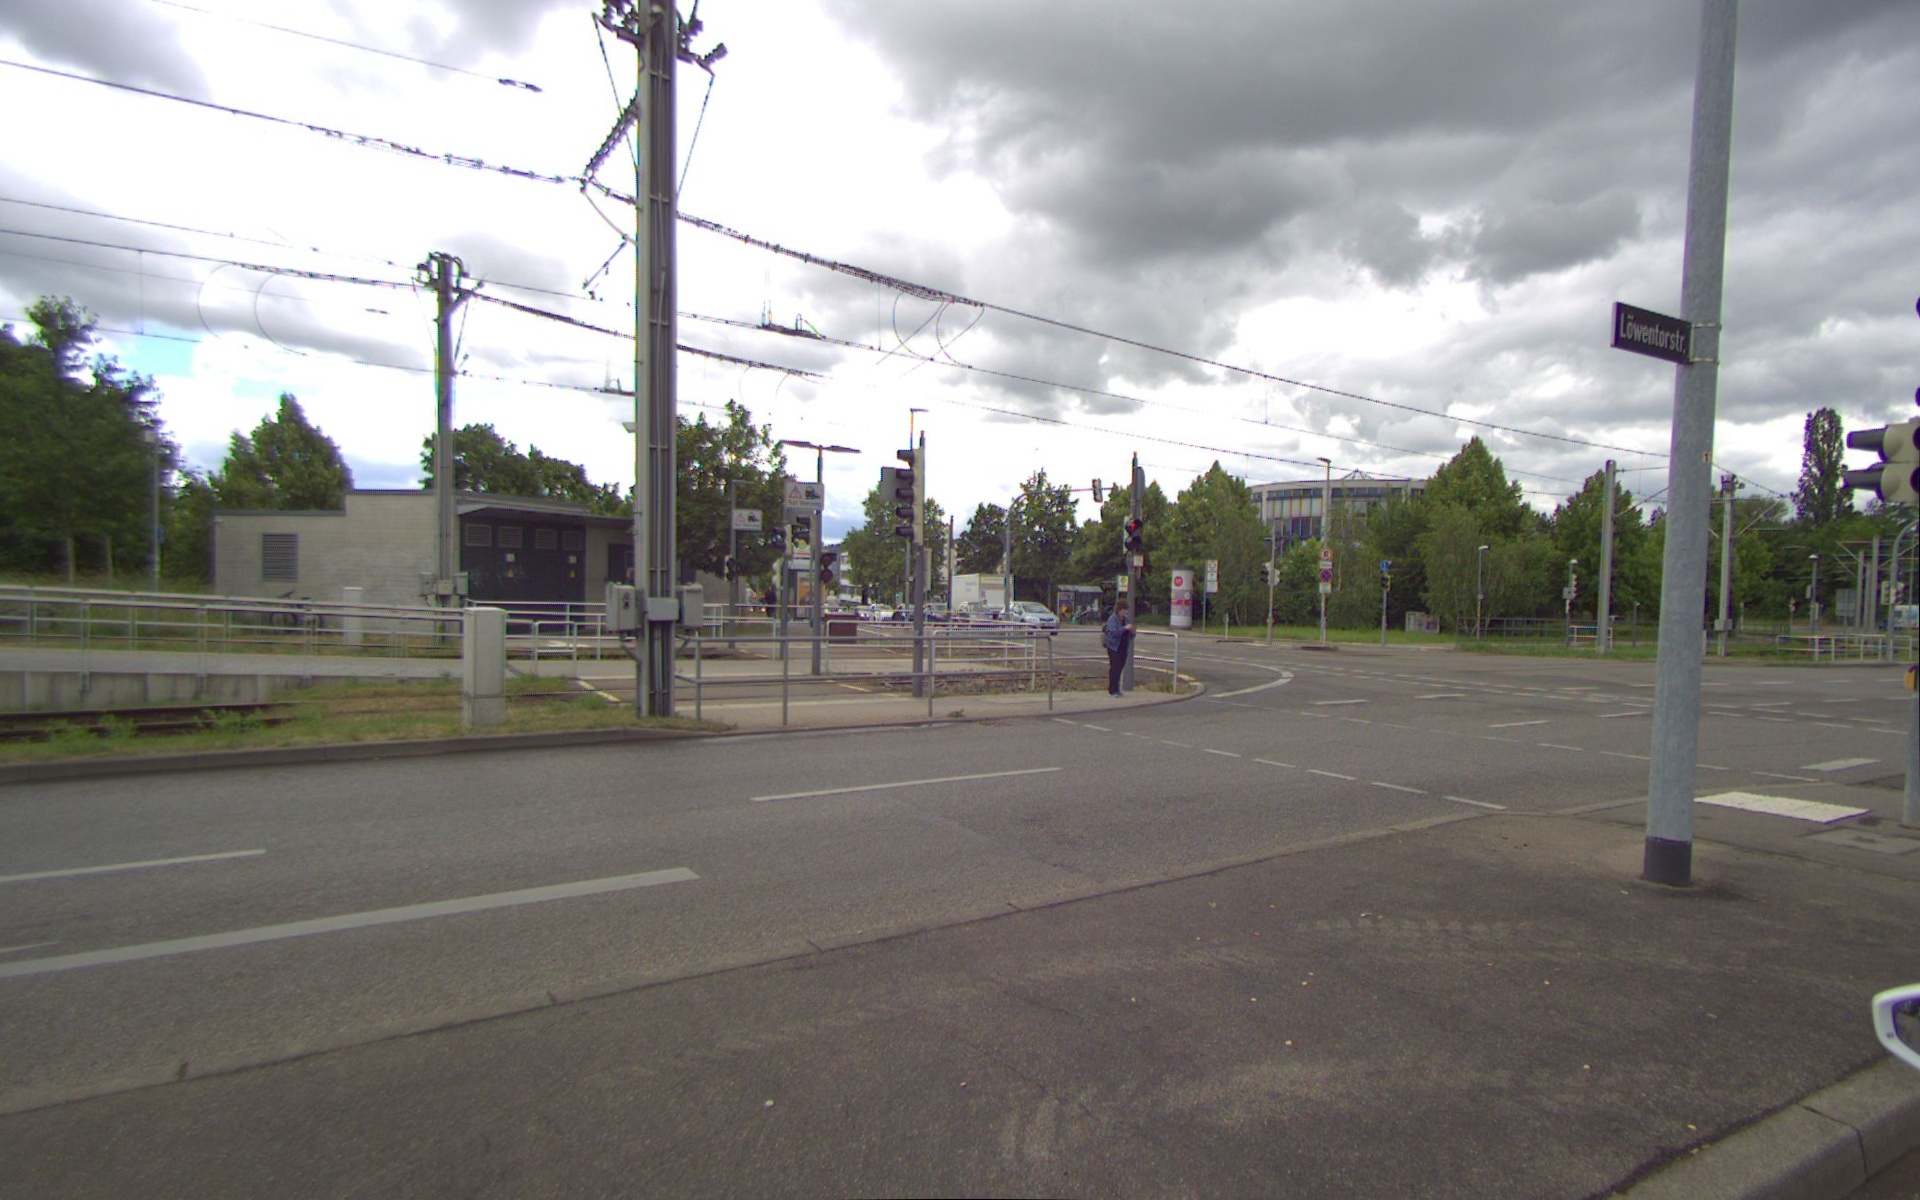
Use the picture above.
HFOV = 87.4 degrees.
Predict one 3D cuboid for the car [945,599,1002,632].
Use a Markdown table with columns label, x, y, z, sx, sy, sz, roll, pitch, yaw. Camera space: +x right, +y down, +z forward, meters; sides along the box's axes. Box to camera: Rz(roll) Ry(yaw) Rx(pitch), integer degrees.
| label | x | y | z | sx | sy | sz | roll | pitch | yaw |
| --- | --- | --- | --- | --- | --- | --- | --- | --- | --- |
| car | 0.662 | 0.795 | 53.863 | 1.776 | 1.617 | 3.982 | 2 | 0 | -20 |

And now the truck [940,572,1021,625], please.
| label | x | y | z | sx | sy | sz | roll | pitch | yaw |
| --- | --- | --- | --- | --- | --- | --- | --- | --- | --- |
| truck | 1.315 | -0.128 | 73.255 | 2.969 | 3.580 | 9.244 | 1 | 0 | -18 |

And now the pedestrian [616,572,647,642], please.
| label | x | y | z | sx | sy | sz | roll | pitch | yaw |
| --- | --- | --- | --- | --- | --- | --- | --- | --- | --- |
| pedestrian | -8.434 | 0.191 | 25.765 | 0.700 | 1.751 | 0.674 | 2 | 0 | -19 |

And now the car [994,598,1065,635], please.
| label | x | y | z | sx | sy | sz | roll | pitch | yaw |
| --- | --- | --- | --- | --- | --- | --- | --- | --- | --- |
| car | 3.192 | 0.734 | 46.897 | 1.848 | 1.617 | 3.982 | 2 | 0 | -20 |

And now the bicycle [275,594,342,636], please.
| label | x | y | z | sx | sy | sz | roll | pitch | yaw |
| --- | --- | --- | --- | --- | --- | --- | --- | --- | --- |
| bicycle | -17.353 | 0.393 | 26.752 | 1.778 | 1.045 | 0.536 | 2 | 0 | 21 |

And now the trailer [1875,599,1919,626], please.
| label | x | y | z | sx | sy | sz | roll | pitch | yaw |
| --- | --- | --- | --- | --- | --- | --- | --- | --- | --- |
| trailer | 114.078 | 1.516 | 121.076 | 2.699 | 3.052 | 6.091 | 2 | 0 | 10 |

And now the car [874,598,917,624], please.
| label | x | y | z | sx | sy | sz | roll | pitch | yaw |
| --- | --- | --- | --- | --- | --- | --- | --- | --- | --- |
| car | -4.241 | 0.703 | 65.748 | 1.776 | 1.617 | 3.982 | 2 | 0 | -20 |

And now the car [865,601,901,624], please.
| label | x | y | z | sx | sy | sz | roll | pitch | yaw |
| --- | --- | --- | --- | --- | --- | --- | --- | --- | --- |
| car | -5.770 | 0.928 | 74.897 | 1.775 | 1.617 | 3.985 | 2 | 0 | -17 |

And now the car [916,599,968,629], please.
| label | x | y | z | sx | sy | sz | roll | pitch | yaw |
| --- | --- | --- | --- | --- | --- | --- | --- | --- | --- |
| car | -1.069 | 0.762 | 58.037 | 1.776 | 1.617 | 3.982 | 2 | 0 | -20 |

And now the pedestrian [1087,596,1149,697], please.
| label | x | y | z | sx | sy | sz | roll | pitch | yaw |
| --- | --- | --- | --- | --- | --- | --- | --- | --- | --- |
| pedestrian | 2.514 | 0.729 | 16.019 | 0.712 | 1.557 | 0.630 | 2 | 0 | -33 |

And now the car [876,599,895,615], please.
| label | x | y | z | sx | sy | sz | roll | pitch | yaw |
| --- | --- | --- | --- | --- | --- | --- | --- | --- | --- |
| car | -8.222 | 0.789 | 110.429 | 2.008 | 1.617 | 3.996 | 2 | 0 | -6 |

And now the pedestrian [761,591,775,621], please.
| label | x | y | z | sx | sy | sz | roll | pitch | yaw |
| --- | --- | --- | --- | --- | --- | --- | --- | --- | --- |
| pedestrian | -8.820 | 0.273 | 46.104 | 0.592 | 1.377 | 0.615 | 2 | 0 | -10 |

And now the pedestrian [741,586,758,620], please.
| label | x | y | z | sx | sy | sz | roll | pitch | yaw |
| --- | --- | --- | --- | --- | --- | --- | --- | --- | --- |
| pedestrian | -9.866 | 0.139 | 47.045 | 0.633 | 1.557 | 0.521 | 2 | 0 | -2 |

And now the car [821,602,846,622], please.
| label | x | y | z | sx | sy | sz | roll | pitch | yaw |
| --- | --- | --- | --- | --- | --- | --- | --- | --- | --- |
| car | -11.977 | 1.085 | 94.906 | 1.869 | 1.805 | 3.988 | 1 | 0 | -14 |

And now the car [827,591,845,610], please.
| label | x | y | z | sx | sy | sz | roll | pitch | yaw |
| --- | --- | --- | --- | --- | --- | --- | --- | --- | --- |
| car | -14.617 | 0.060 | 118.105 | 1.964 | 2.218 | 5.800 | 1 | 0 | -9 |
